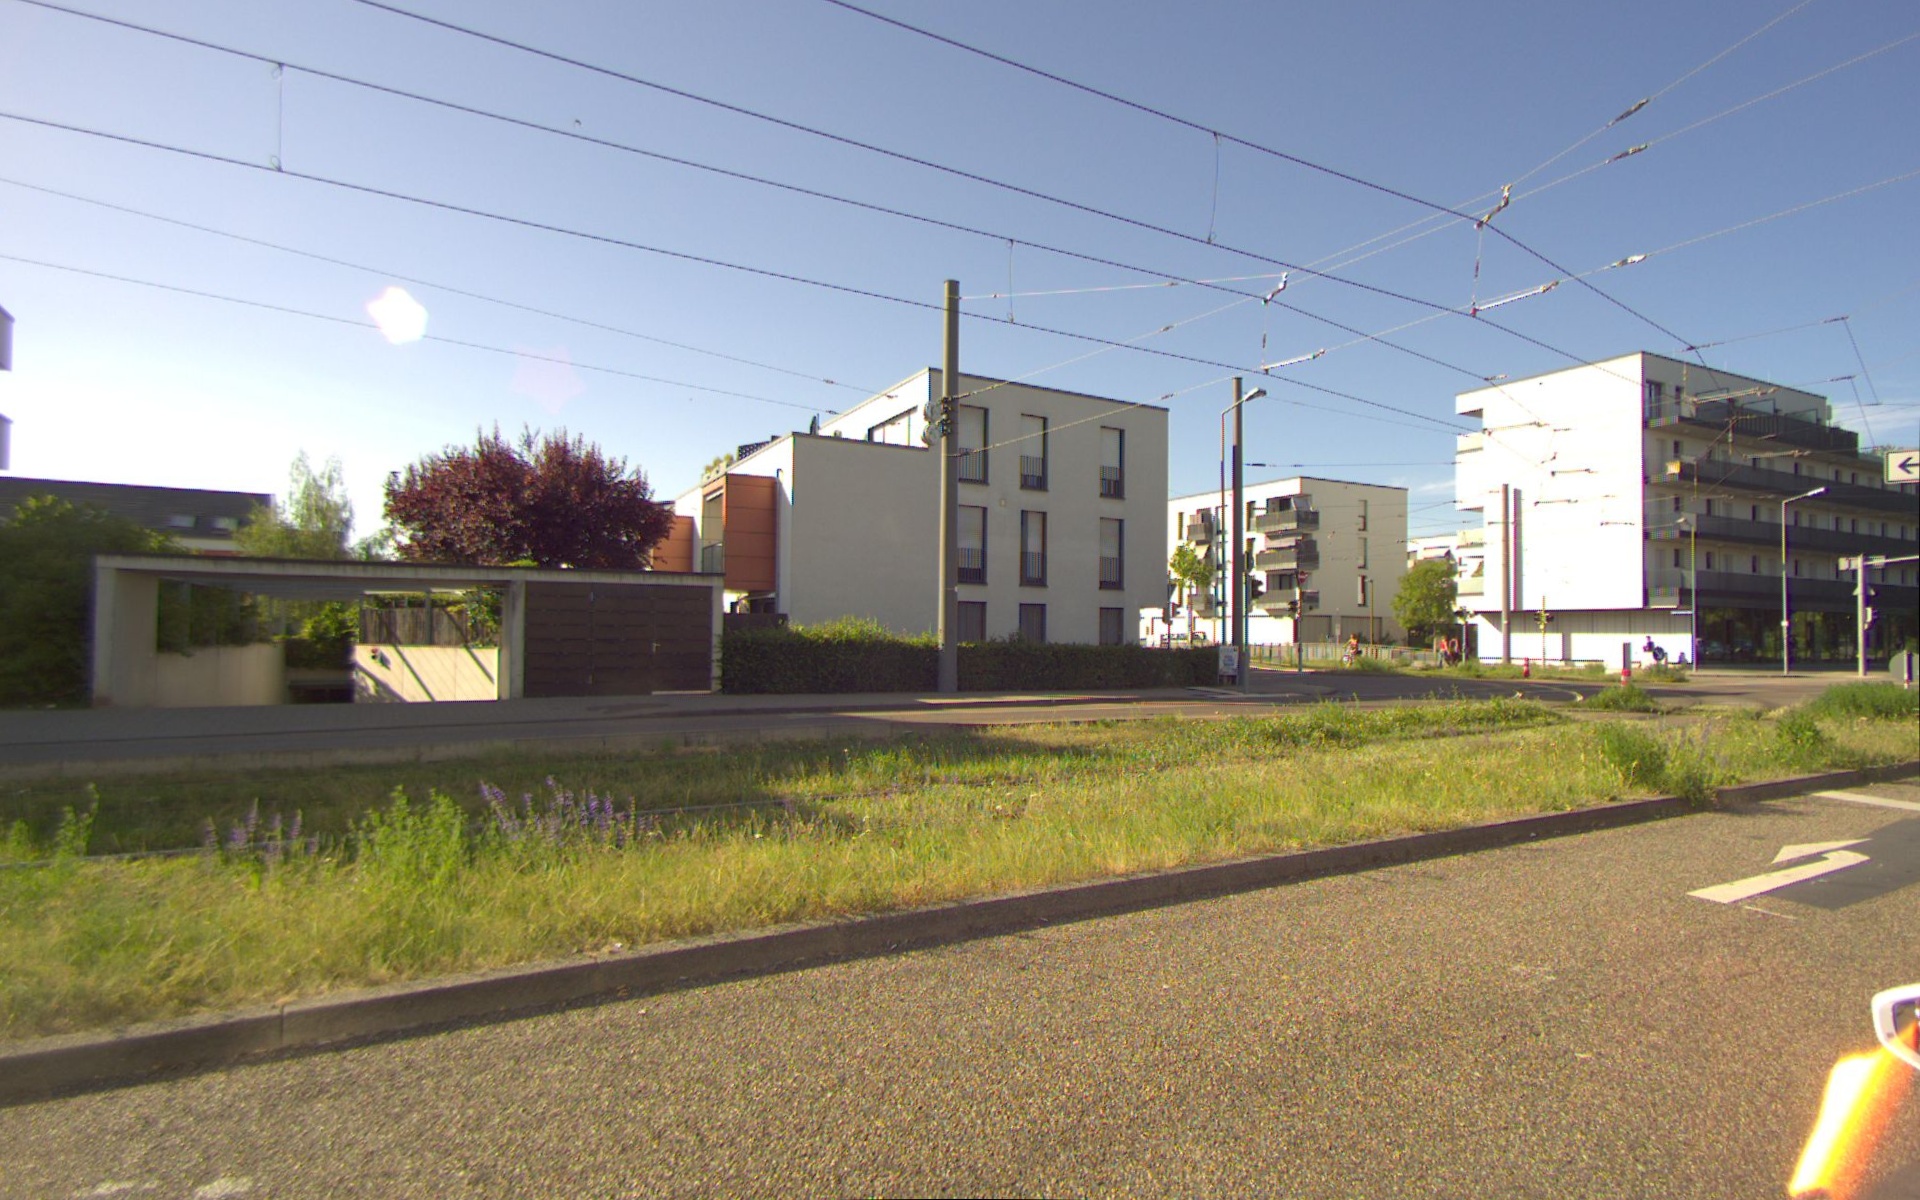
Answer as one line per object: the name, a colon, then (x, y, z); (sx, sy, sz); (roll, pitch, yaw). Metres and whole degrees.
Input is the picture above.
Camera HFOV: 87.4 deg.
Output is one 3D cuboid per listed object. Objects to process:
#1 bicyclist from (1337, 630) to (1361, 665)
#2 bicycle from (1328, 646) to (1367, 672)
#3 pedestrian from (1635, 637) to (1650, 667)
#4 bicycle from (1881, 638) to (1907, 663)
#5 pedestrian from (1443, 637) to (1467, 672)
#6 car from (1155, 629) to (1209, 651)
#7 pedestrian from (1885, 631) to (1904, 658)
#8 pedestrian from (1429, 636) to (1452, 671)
bicyclist: (18.336, 2.241, 47.359); (0.634, 1.635, 0.777); (2, 0, -35)
bicycle: (18.251, 2.778, 47.334); (1.843, 1.139, 0.814); (2, 0, -36)
pedestrian: (35.129, 2.677, 51.679); (0.513, 1.523, 0.438); (2, 0, -35)
bicycle: (53.739, 2.899, 57.769); (1.892, 1.350, 0.626); (2, 0, -33)
pedestrian: (23.886, 2.627, 48.465); (0.736, 1.626, 0.765); (2, 0, -37)
car: (17.741, 3.188, 80.375); (1.974, 1.595, 4.309); (2, 0, -27)
pedestrian: (53.783, 2.539, 57.787); (0.589, 1.529, 0.639); (2, 0, -32)
pedestrian: (23.627, 2.624, 49.408); (0.736, 1.626, 0.765); (2, 0, -37)
